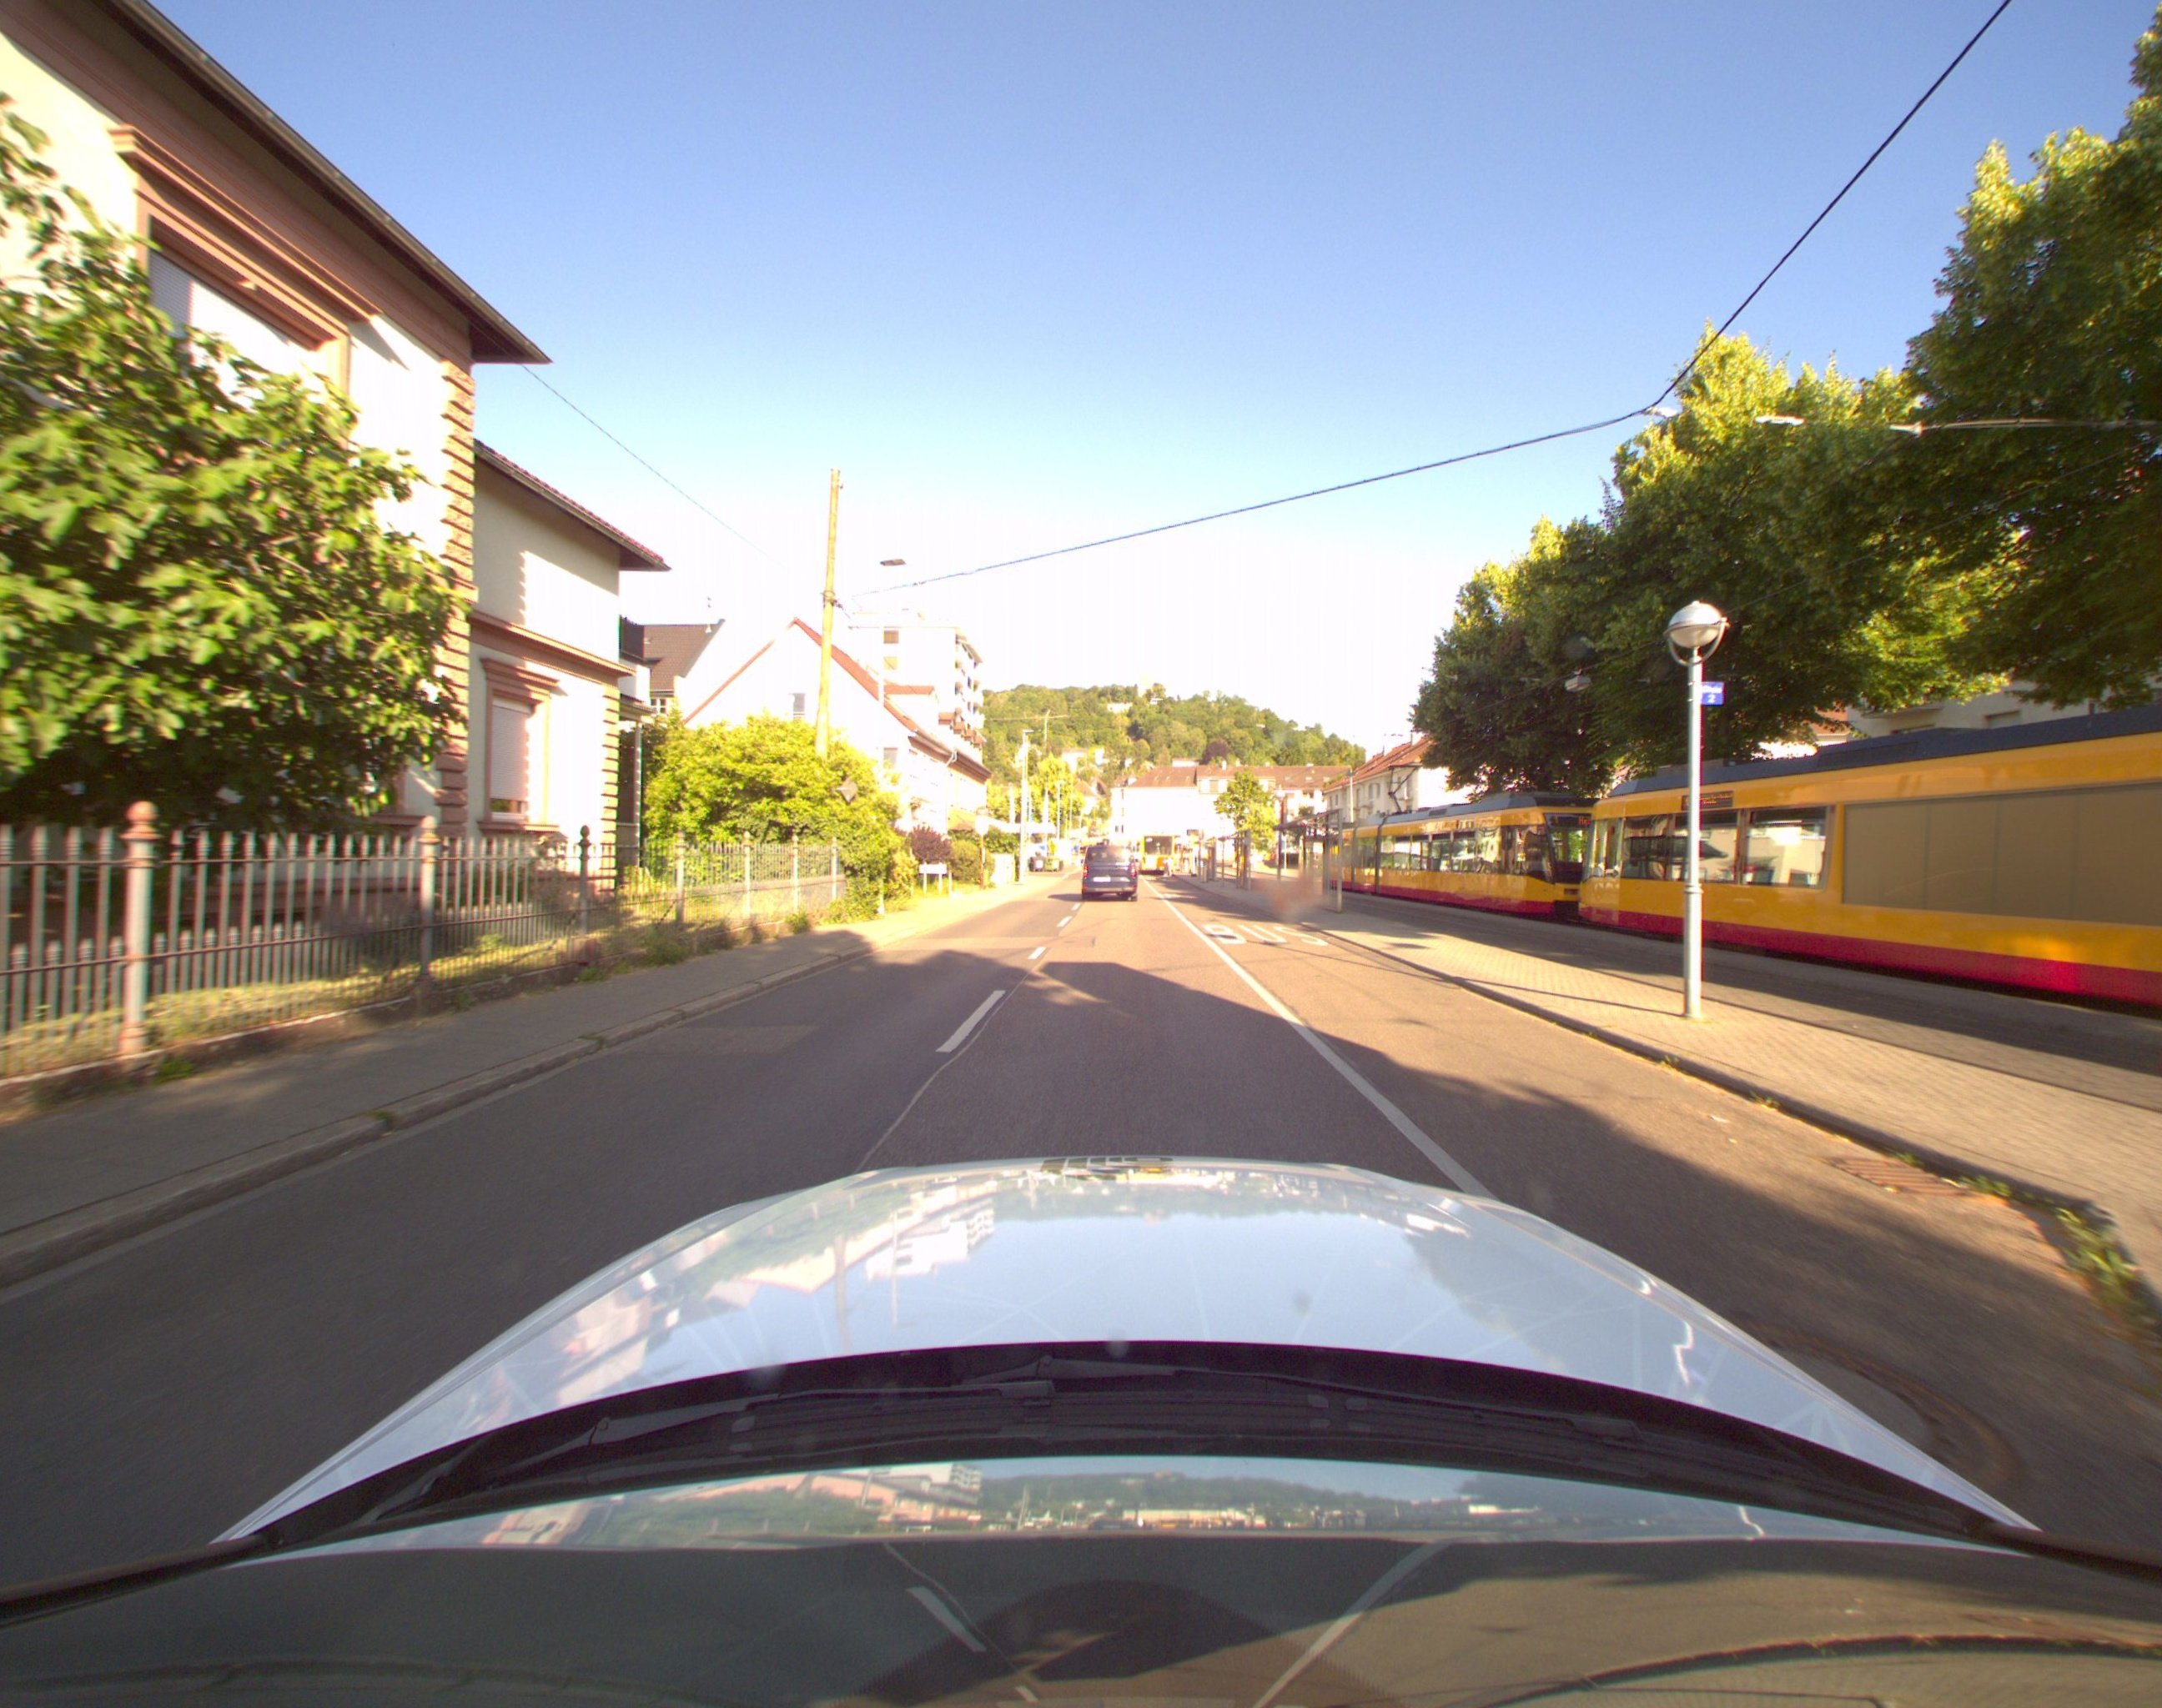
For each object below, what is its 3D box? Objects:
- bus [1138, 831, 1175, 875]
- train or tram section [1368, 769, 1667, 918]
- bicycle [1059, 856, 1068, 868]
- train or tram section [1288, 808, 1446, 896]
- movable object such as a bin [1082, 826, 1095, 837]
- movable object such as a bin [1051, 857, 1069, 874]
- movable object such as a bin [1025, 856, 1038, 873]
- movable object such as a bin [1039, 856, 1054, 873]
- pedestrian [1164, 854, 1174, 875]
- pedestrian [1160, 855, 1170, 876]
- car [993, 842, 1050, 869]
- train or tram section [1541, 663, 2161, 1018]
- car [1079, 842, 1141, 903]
[{"bbox_3d":[6.343,-0.132,69.867,2.677,3.416,12.028,0,1,3],"label":"bus"},{"bbox_3d":[12.811,-0.155,26.218,2.945,3.534,13.472,-1,-1,3],"label":"train or tram section"},{"bbox_3d":[-1.766,0.809,80.862,0.722,1.178,1.777,0,0,-6],"label":"bicycle"},{"bbox_3d":[13.516,0.032,40.670,2.945,3.534,15.979,-1,-1,3],"label":"train or tram section"},{"bbox_3d":[1.910,-5.694,206.574,2.175,2.690,4.015,0,0,14],"label":"movable object such as a bin"},{"bbox_3d":[-1.898,1.026,74.303,1.045,1.482,1.321,2,4,31],"label":"movable object such as a bin"},{"bbox_3d":[-4.437,0.936,73.088,1.215,1.482,0.704,0,3,-2],"label":"movable object such as a bin"},{"bbox_3d":[-3.096,0.963,73.392,1.224,1.482,0.698,-1,3,-26],"label":"movable object such as a bin"},{"bbox_3d":[6.750,0.783,62.357,0.548,1.613,0.544,0,0,-35],"label":"pedestrian"},{"bbox_3d":[6.479,0.882,62.757,0.548,1.613,0.629,0,0,-35],"label":"pedestrian"},{"bbox_3d":[-5.767,0.142,78.685,5.071,2.469,2.095,1,0,-19],"label":"car"},{"bbox_3d":[11.996,-0.165,11.034,2.946,3.421,15.946,0,0,2],"label":"train or tram section"},{"bbox_3d":[1.103,0.641,30.098,2.053,2.013,5.003,-1,0,3],"label":"car"}]
